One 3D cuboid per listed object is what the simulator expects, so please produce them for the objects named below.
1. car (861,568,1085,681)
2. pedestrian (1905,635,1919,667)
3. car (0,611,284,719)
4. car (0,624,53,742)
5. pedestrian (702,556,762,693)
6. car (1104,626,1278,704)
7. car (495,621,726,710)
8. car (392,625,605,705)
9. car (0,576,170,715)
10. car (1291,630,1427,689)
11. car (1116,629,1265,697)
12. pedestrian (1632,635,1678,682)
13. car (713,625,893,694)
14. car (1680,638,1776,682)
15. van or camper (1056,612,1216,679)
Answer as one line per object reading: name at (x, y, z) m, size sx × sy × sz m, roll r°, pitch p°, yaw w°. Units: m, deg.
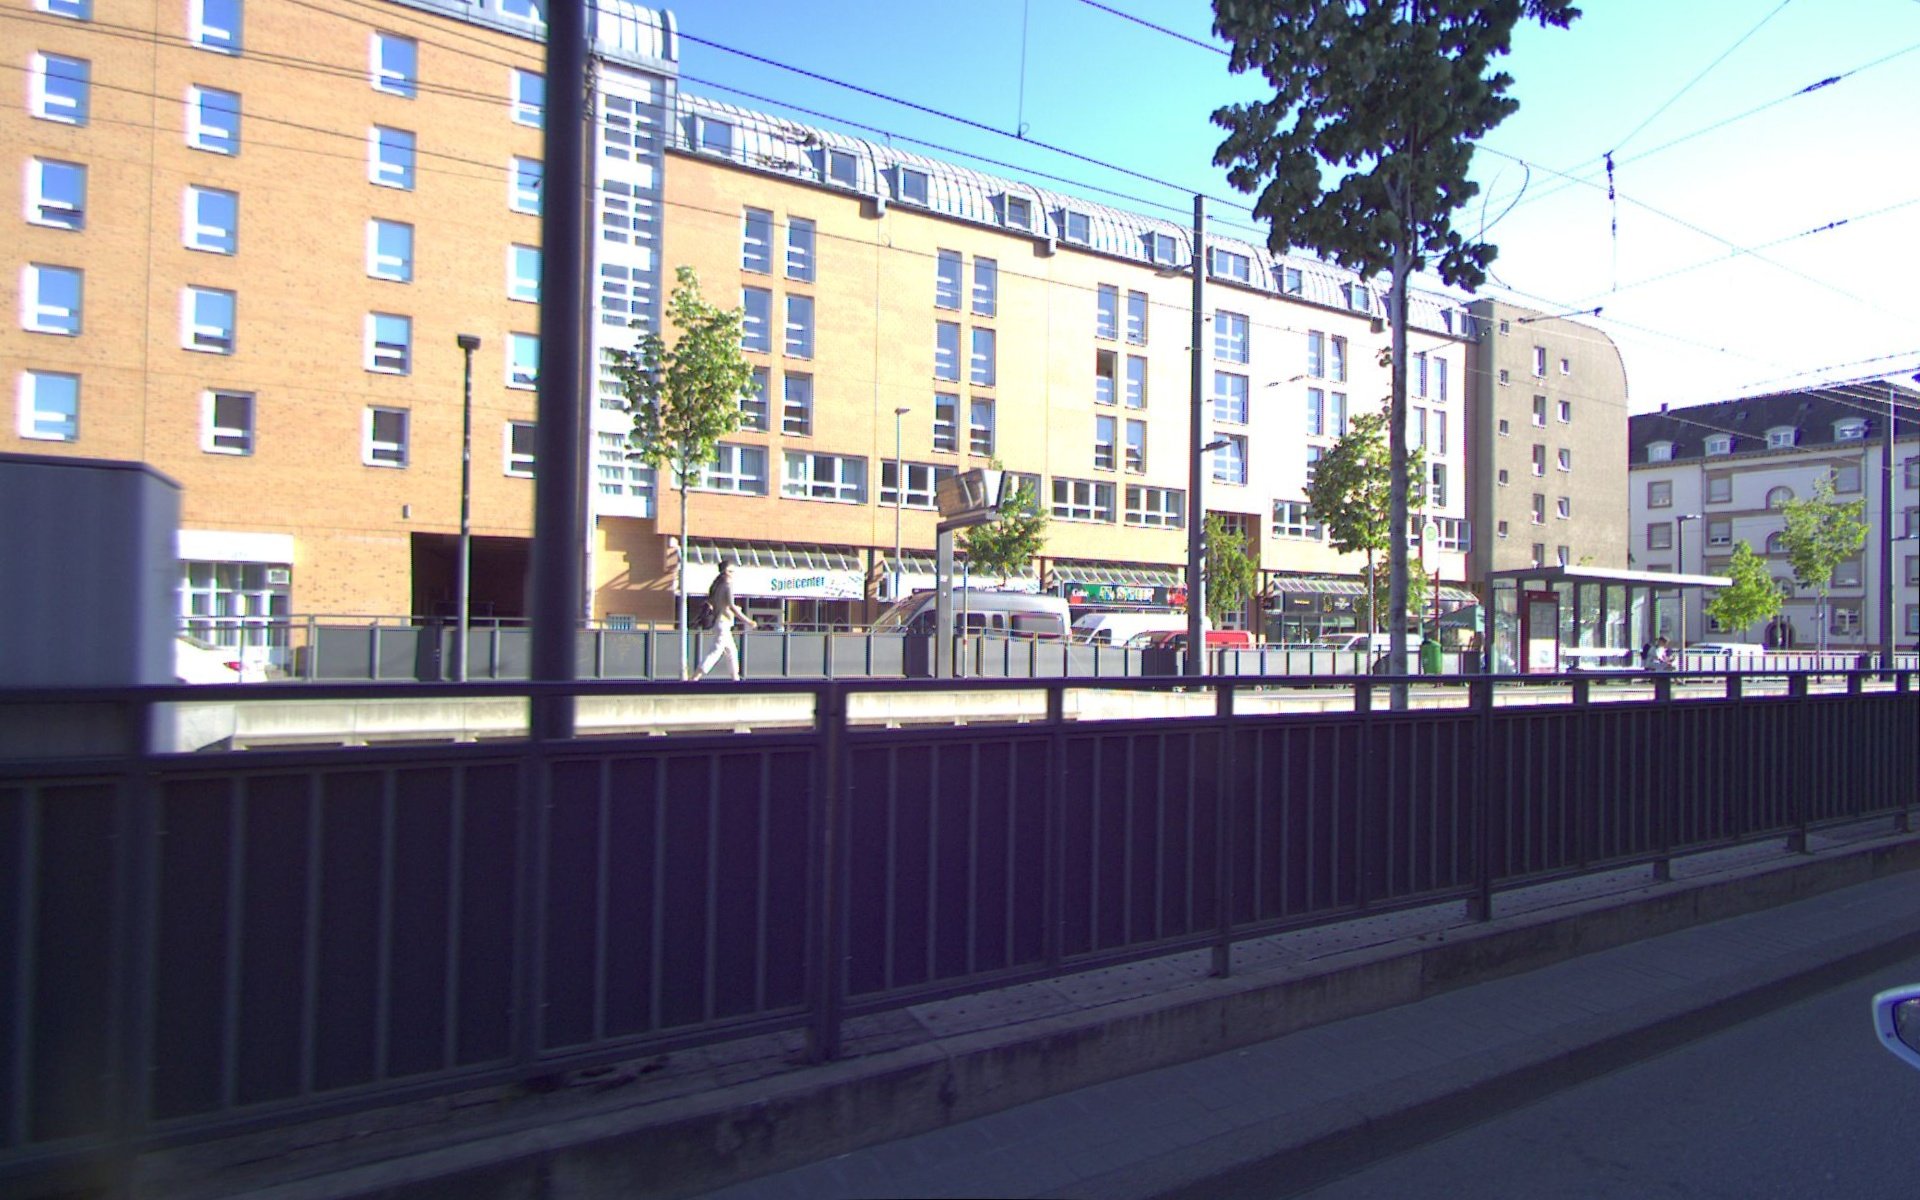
car at (0.344, 0.605, 23.372) m, size 4.861 × 2.389 × 2.037 m, roll 2°, pitch -2°, yaw -29°
pedestrian at (61.921, 3.324, 65.087) m, size 0.617 × 2.040 × 0.797 m, roll 1°, pitch -1°, yaw -28°
car at (-13.185, 0.972, 15.924) m, size 3.953 × 1.553 × 1.877 m, roll 1°, pitch -2°, yaw -31°
car at (-13.922, 1.022, 12.225) m, size 3.953 × 1.467 × 1.749 m, roll 1°, pitch -2°, yaw -31°
pedestrian at (-2.942, 0.323, 12.956) m, size 0.569 × 1.706 × 0.674 m, roll 2°, pitch -2°, yaw -28°
car at (6.032, 1.615, 26.130) m, size 4.262 × 1.891 × 1.878 m, roll 1°, pitch -2°, yaw -29°
car at (-6.748, 1.201, 19.464) m, size 3.953 × 1.553 × 1.877 m, roll 1°, pitch -2°, yaw -31°
car at (-9.758, 1.310, 21.274) m, size 3.953 × 1.553 × 1.877 m, roll 1°, pitch -2°, yaw -31°
car at (-17.198, 0.764, 17.389) m, size 5.203 × 2.319 × 2.069 m, roll 2°, pitch -2°, yaw -30°
car at (13.414, 1.944, 33.763) m, size 4.258 × 1.891 × 1.880 m, roll 1°, pitch -1°, yaw -26°
car at (6.941, 1.833, 30.187) m, size 4.265 × 1.891 × 1.877 m, roll 1°, pitch -2°, yaw -31°
pedestrian at (18.374, 1.546, 26.558) m, size 0.895 × 1.205 × 0.670 m, roll 2°, pitch -2°, yaw -29°
car at (-3.815, 1.396, 24.532) m, size 3.953 × 1.553 × 1.877 m, roll 1°, pitch -2°, yaw -31°
car at (38.094, 2.932, 49.825) m, size 4.087 × 2.040 × 1.989 m, roll 1°, pitch -1°, yaw -23°
van or camper at (6.310, 1.578, 35.886) m, size 5.542 × 2.198 × 1.986 m, roll 0°, pitch -1°, yaw -27°
